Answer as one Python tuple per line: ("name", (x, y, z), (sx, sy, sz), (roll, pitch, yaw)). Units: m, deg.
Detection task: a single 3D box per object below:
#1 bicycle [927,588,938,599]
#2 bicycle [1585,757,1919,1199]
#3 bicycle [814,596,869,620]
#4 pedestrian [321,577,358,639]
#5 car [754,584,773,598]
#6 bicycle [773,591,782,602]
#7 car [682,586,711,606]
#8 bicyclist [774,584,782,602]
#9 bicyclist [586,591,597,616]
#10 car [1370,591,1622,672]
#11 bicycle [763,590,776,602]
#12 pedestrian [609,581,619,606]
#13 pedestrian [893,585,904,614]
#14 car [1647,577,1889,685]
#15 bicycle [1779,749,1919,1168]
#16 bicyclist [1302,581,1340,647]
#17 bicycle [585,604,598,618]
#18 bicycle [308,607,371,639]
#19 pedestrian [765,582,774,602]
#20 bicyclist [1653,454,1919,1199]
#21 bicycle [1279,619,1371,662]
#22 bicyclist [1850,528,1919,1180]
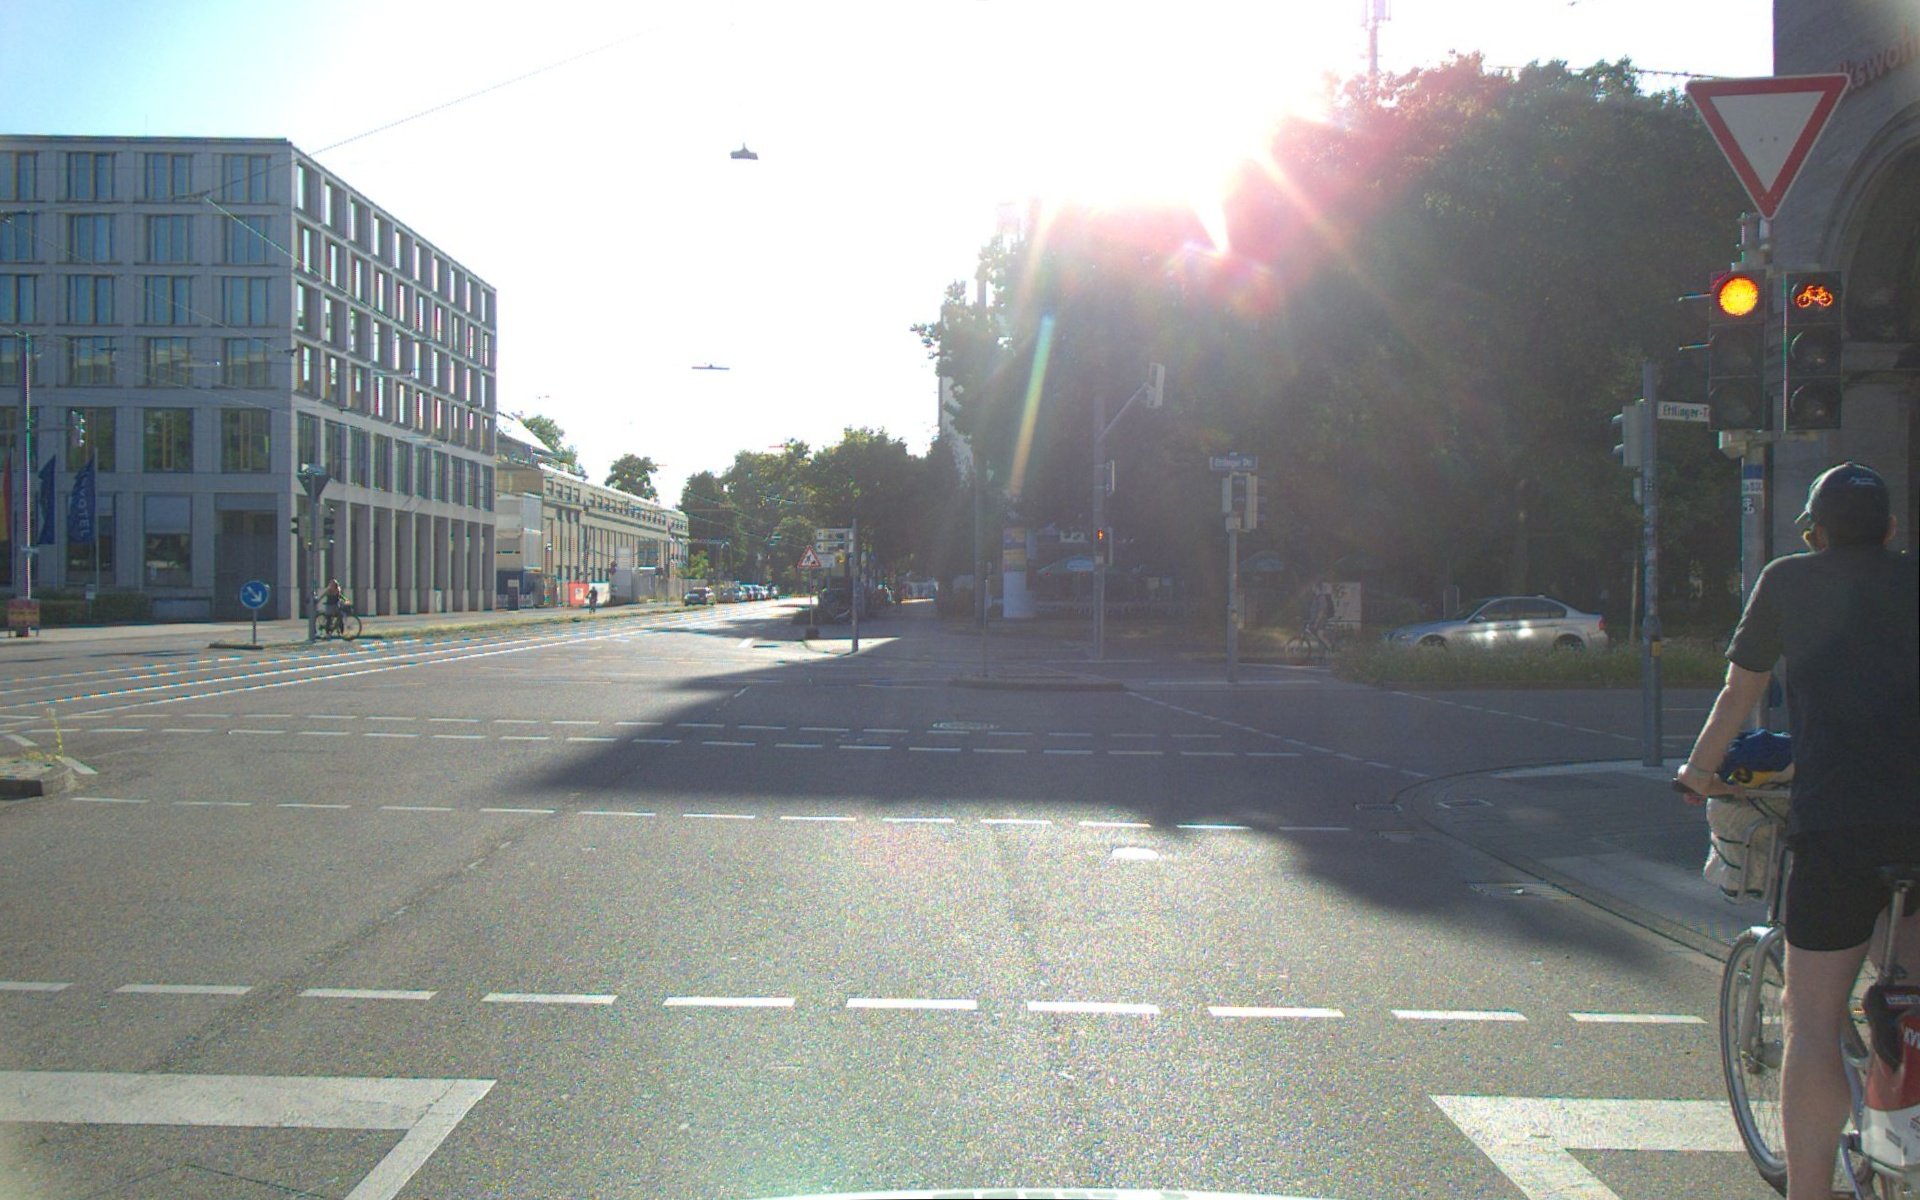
("bicycle", (-3.340, -0.780, 201.470), (0.875, 1.240, 2.785), (1, 0, -12))
("bicycle", (2.141, 0.993, 3.911), (0.610, 1.062, 1.746), (0, 0, -2))
("bicycle", (-4.810, 0.327, 67.142), (2.201, 0.956, 0.653), (0, 0, -6))
("pedestrian", (-16.321, 0.208, 43.529), (0.727, 1.623, 0.573), (0, 0, 26))
("car", (-23.068, -1.033, 194.352), (1.954, 1.673, 3.997), (0, 0, -4))
("bicycle", (-19.679, -0.379, 178.559), (0.735, 1.226, 3.107), (1, 0, -2))
("car", (-21.739, -0.352, 136.467), (1.954, 1.627, 3.997), (0, 1, -3))
("bicyclist", (-19.672, -0.763, 178.442), (0.735, 1.953, 1.214), (1, 0, -2))
("bicyclist", (-21.954, 0.201, 98.526), (0.484, 1.525, 0.666), (0, 0, 2))
("car", (10.852, 0.630, 33.723), (4.483, 1.543, 2.000), (1, 0, -1))
("bicycle", (-19.986, -0.421, 173.456), (0.735, 1.226, 3.109), (1, 0, 5))
("pedestrian", (-27.073, -0.527, 129.458), (0.576, 1.922, 0.478), (1, -1, 26))
("pedestrian", (-3.642, -0.048, 97.547), (0.566, 1.719, 0.584), (0, 0, -8))
("car", (16.231, 0.610, 33.378), (3.905, 2.049, 2.000), (1, 0, 0))
("bicycle", (2.887, 1.009, 4.387), (0.570, 1.062, 1.747), (0, 0, 0))
("bicyclist", (7.958, 0.305, 36.490), (0.731, 1.431, 0.702), (1, -1, 6))
("bicycle", (-21.946, 0.662, 98.529), (0.484, 0.854, 1.156), (-1, 0, 2))
("bicycle", (-16.327, 0.605, 43.532), (1.679, 0.837, 0.573), (0, 0, 27))
("pedestrian", (-19.989, -0.853, 173.526), (0.735, 2.099, 1.050), (1, -1, 5))
("bicyclist", (2.144, 0.566, 3.899), (0.610, 1.745, 0.912), (0, 0, -2))
("bicycle", (8.036, 0.880, 36.483), (1.902, 0.905, 0.718), (1, 0, 5))
("bicyclist", (2.887, 0.689, 4.351), (0.572, 1.769, 0.950), (0, 0, 0))
